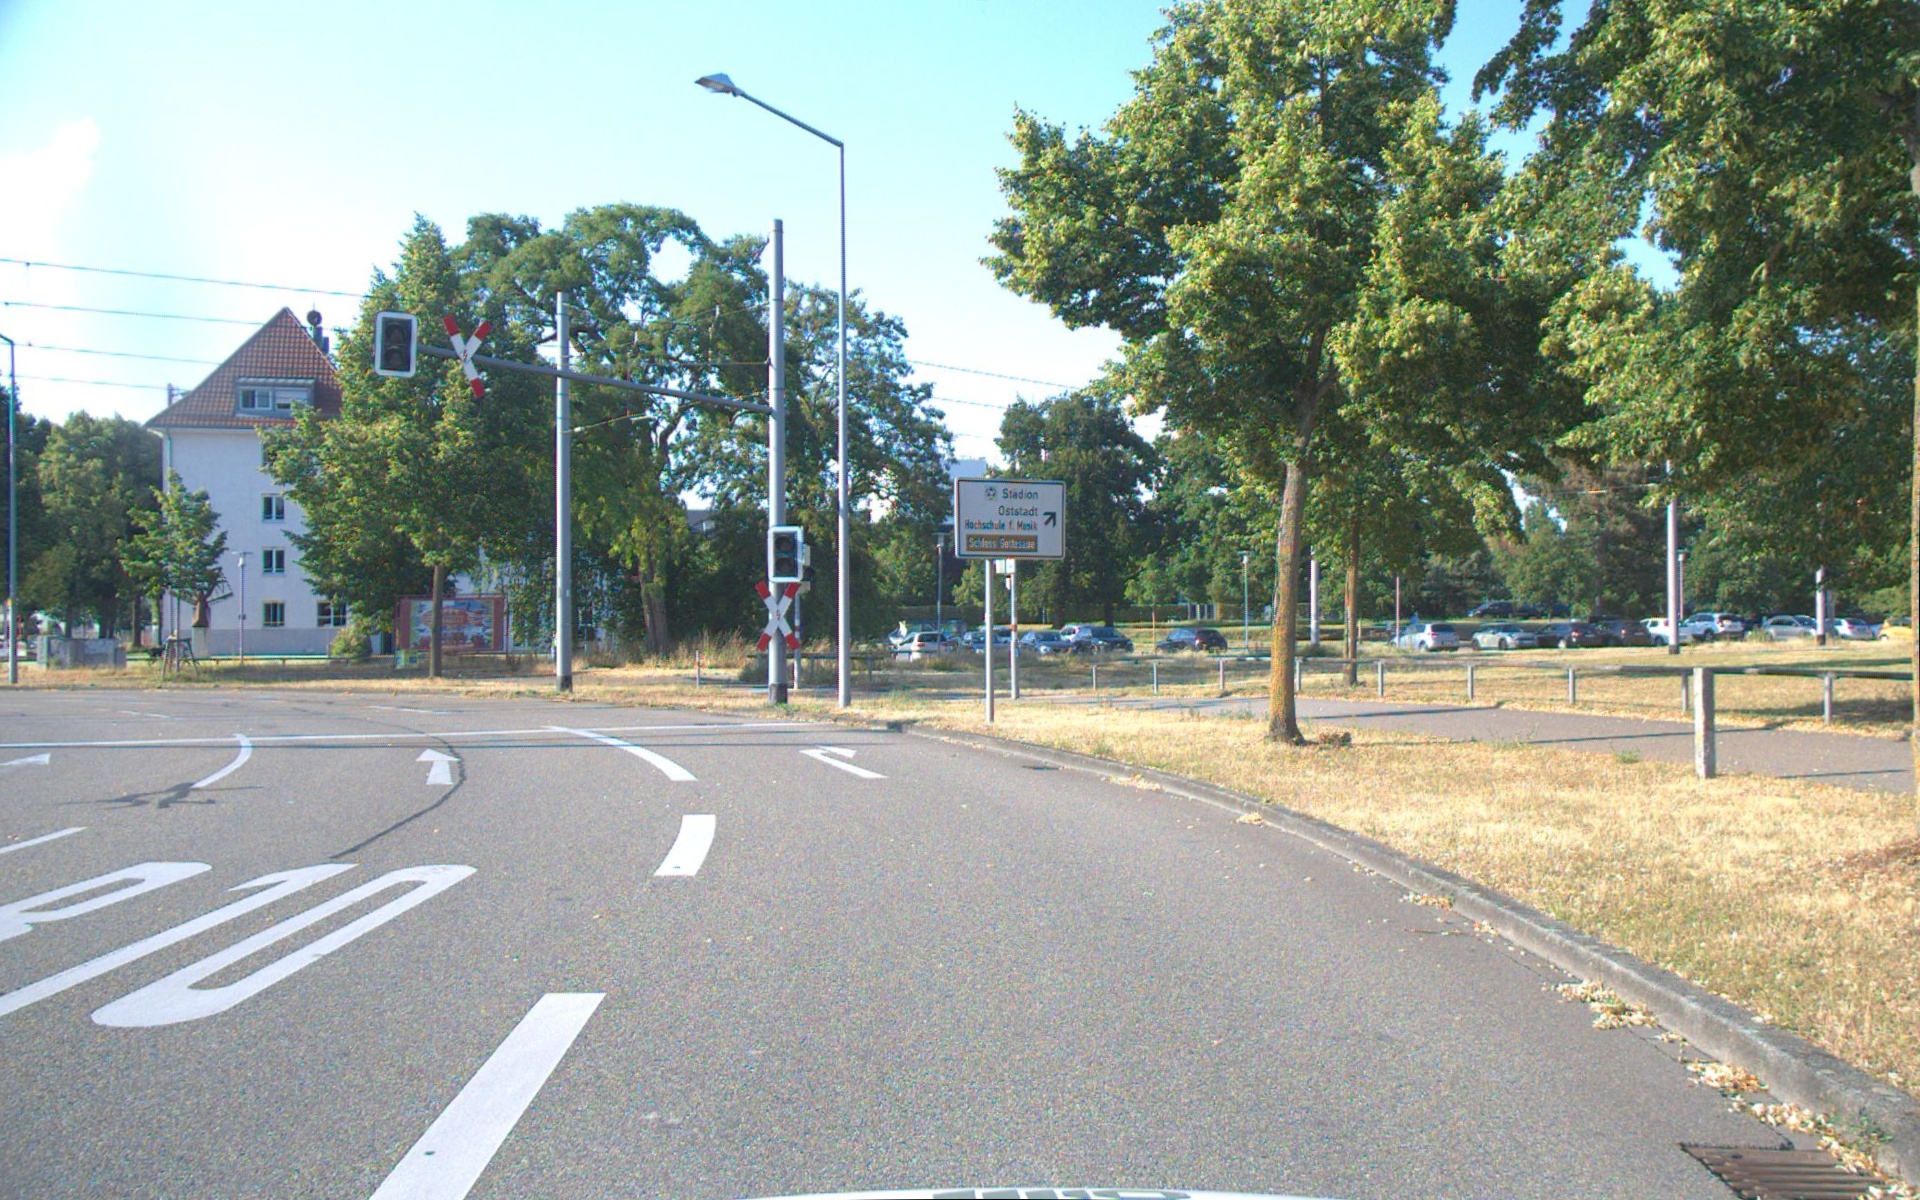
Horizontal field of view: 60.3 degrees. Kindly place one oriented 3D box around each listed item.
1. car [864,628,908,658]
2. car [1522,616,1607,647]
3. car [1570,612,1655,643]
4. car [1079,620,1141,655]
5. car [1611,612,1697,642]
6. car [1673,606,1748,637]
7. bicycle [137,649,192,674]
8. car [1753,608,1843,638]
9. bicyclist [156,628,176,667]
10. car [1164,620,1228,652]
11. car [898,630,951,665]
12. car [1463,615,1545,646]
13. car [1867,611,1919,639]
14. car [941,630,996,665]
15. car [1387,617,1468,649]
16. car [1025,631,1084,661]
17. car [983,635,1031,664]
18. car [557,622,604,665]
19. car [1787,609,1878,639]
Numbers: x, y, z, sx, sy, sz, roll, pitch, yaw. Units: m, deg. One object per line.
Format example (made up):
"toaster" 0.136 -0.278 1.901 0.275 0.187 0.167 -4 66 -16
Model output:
"car" -3.715 2.133 82.599 1.573 1.426 3.956 -1 -1 -12
"car" 28.917 1.521 79.252 1.792 1.427 3.982 -1 -1 -16
"car" 31.526 1.348 80.010 1.792 1.427 3.982 -1 -1 -16
"car" 6.536 1.650 72.433 1.573 1.426 3.956 -1 -1 -12
"car" 33.946 1.331 81.017 1.792 1.427 3.982 -1 -1 -16
"car" 43.432 1.279 95.803 1.792 1.701 3.982 -1 -1 -16
"bicycle" -31.958 2.452 66.487 0.423 0.934 1.980 -1 -1 44
"car" 42.090 1.182 83.136 1.792 1.427 3.982 -1 -1 -16
"bicyclist" -31.929 1.917 66.540 0.412 1.537 0.620 -1 -1 44
"car" 10.458 1.609 73.447 1.573 1.333 3.956 -1 -1 -12
"car" -1.530 2.031 70.657 1.573 1.426 3.956 -1 -1 -12
"car" 25.958 1.460 79.066 1.792 1.427 3.982 -1 -1 -16
"car" 49.554 1.283 86.085 1.792 1.427 3.982 -1 -1 -16
"car" 0.332 2.056 71.332 1.573 1.426 3.956 -1 -1 -12
"car" 21.873 1.575 77.513 1.792 1.427 3.982 -1 -1 -16
"car" 4.051 1.982 71.707 1.573 1.242 3.956 -1 -1 -12
"car" 2.347 2.495 83.639 1.573 1.426 3.956 -1 -1 -12
"car" -15.099 1.738 65.933 1.740 1.646 3.956 -1 -1 -12
"car" 44.400 1.243 84.251 1.792 1.427 3.982 -1 -1 -16
